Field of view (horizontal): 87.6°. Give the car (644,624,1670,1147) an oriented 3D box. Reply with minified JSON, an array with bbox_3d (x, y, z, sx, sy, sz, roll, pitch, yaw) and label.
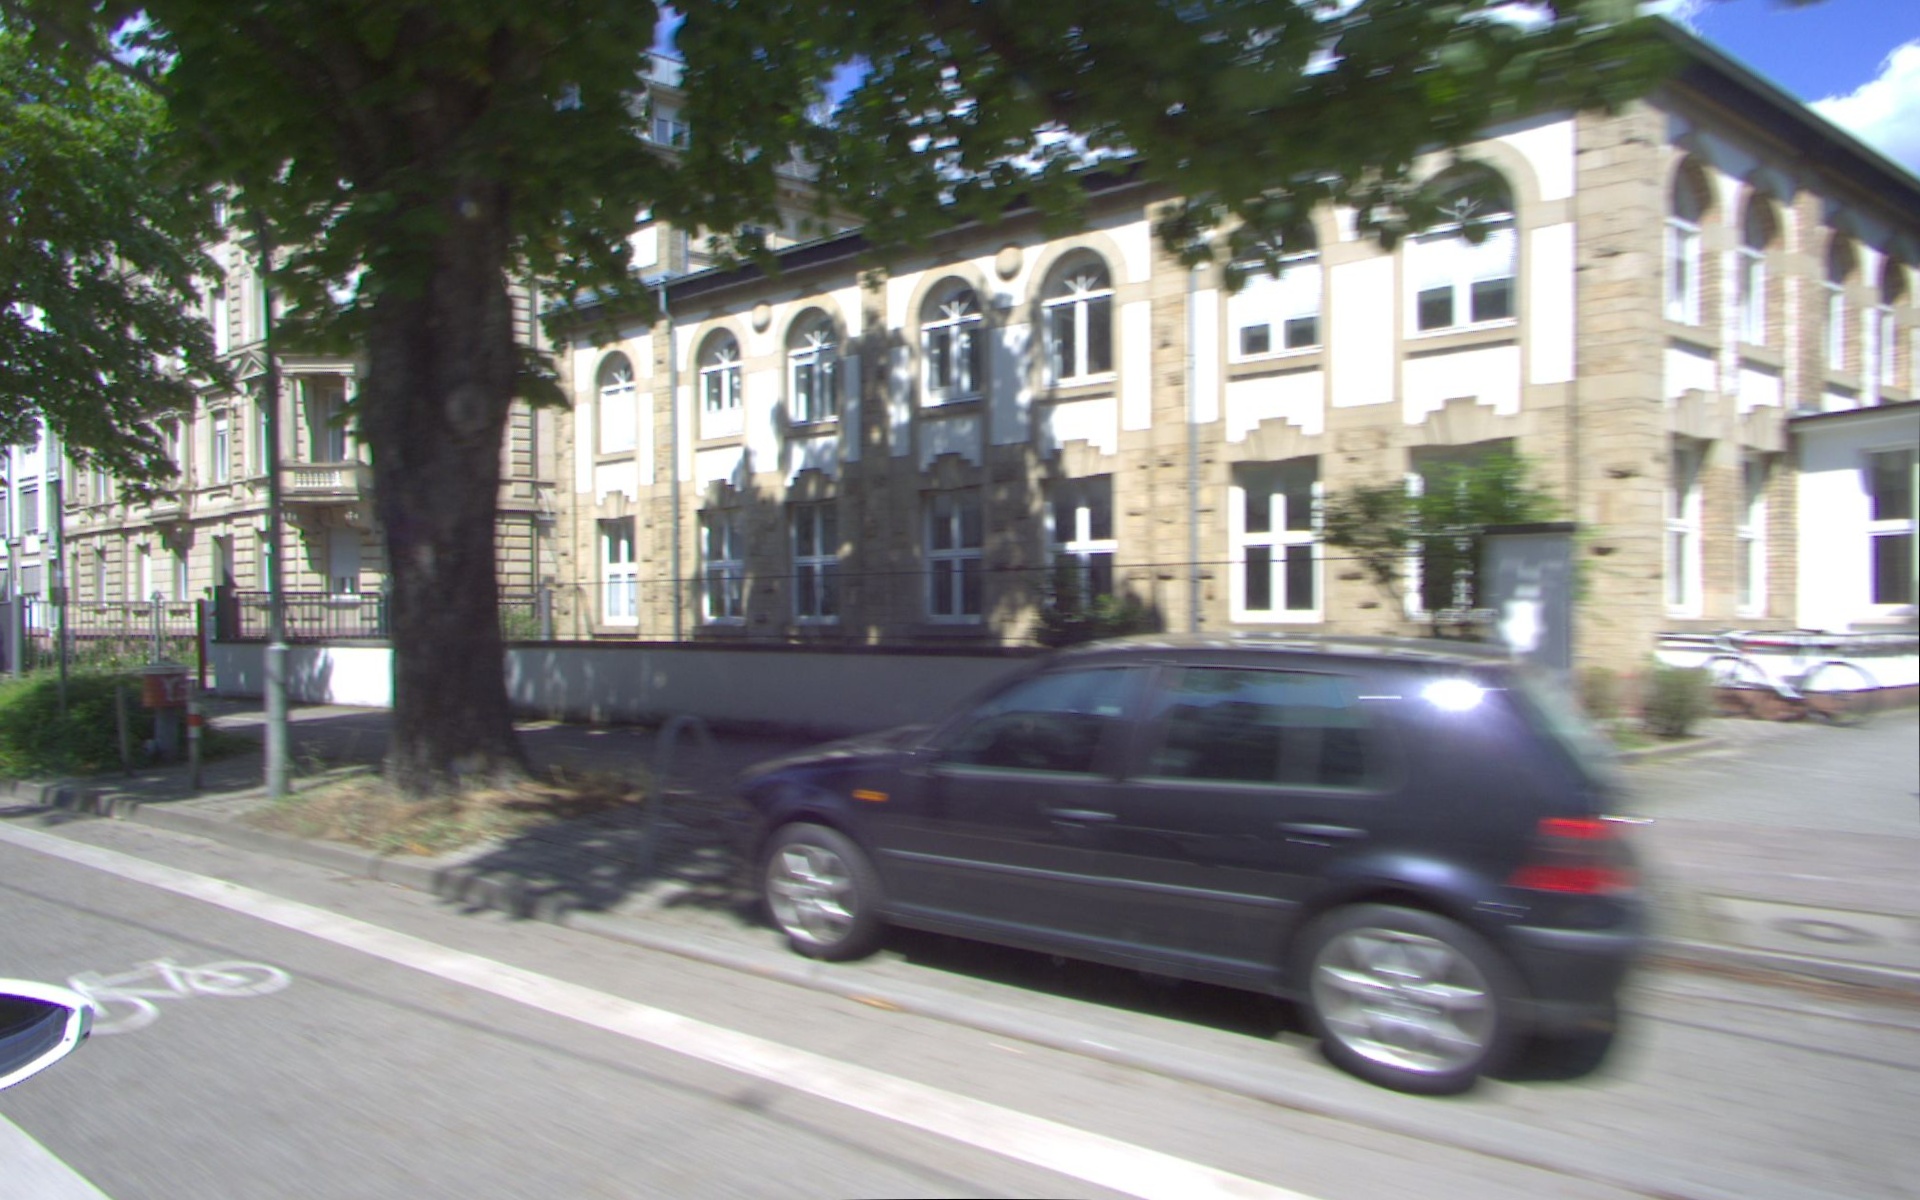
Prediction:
[{"bbox_3d":[0.645,0.861,4.646,4.182,1.442,1.708,-1,0,32],"label":"car"}]
